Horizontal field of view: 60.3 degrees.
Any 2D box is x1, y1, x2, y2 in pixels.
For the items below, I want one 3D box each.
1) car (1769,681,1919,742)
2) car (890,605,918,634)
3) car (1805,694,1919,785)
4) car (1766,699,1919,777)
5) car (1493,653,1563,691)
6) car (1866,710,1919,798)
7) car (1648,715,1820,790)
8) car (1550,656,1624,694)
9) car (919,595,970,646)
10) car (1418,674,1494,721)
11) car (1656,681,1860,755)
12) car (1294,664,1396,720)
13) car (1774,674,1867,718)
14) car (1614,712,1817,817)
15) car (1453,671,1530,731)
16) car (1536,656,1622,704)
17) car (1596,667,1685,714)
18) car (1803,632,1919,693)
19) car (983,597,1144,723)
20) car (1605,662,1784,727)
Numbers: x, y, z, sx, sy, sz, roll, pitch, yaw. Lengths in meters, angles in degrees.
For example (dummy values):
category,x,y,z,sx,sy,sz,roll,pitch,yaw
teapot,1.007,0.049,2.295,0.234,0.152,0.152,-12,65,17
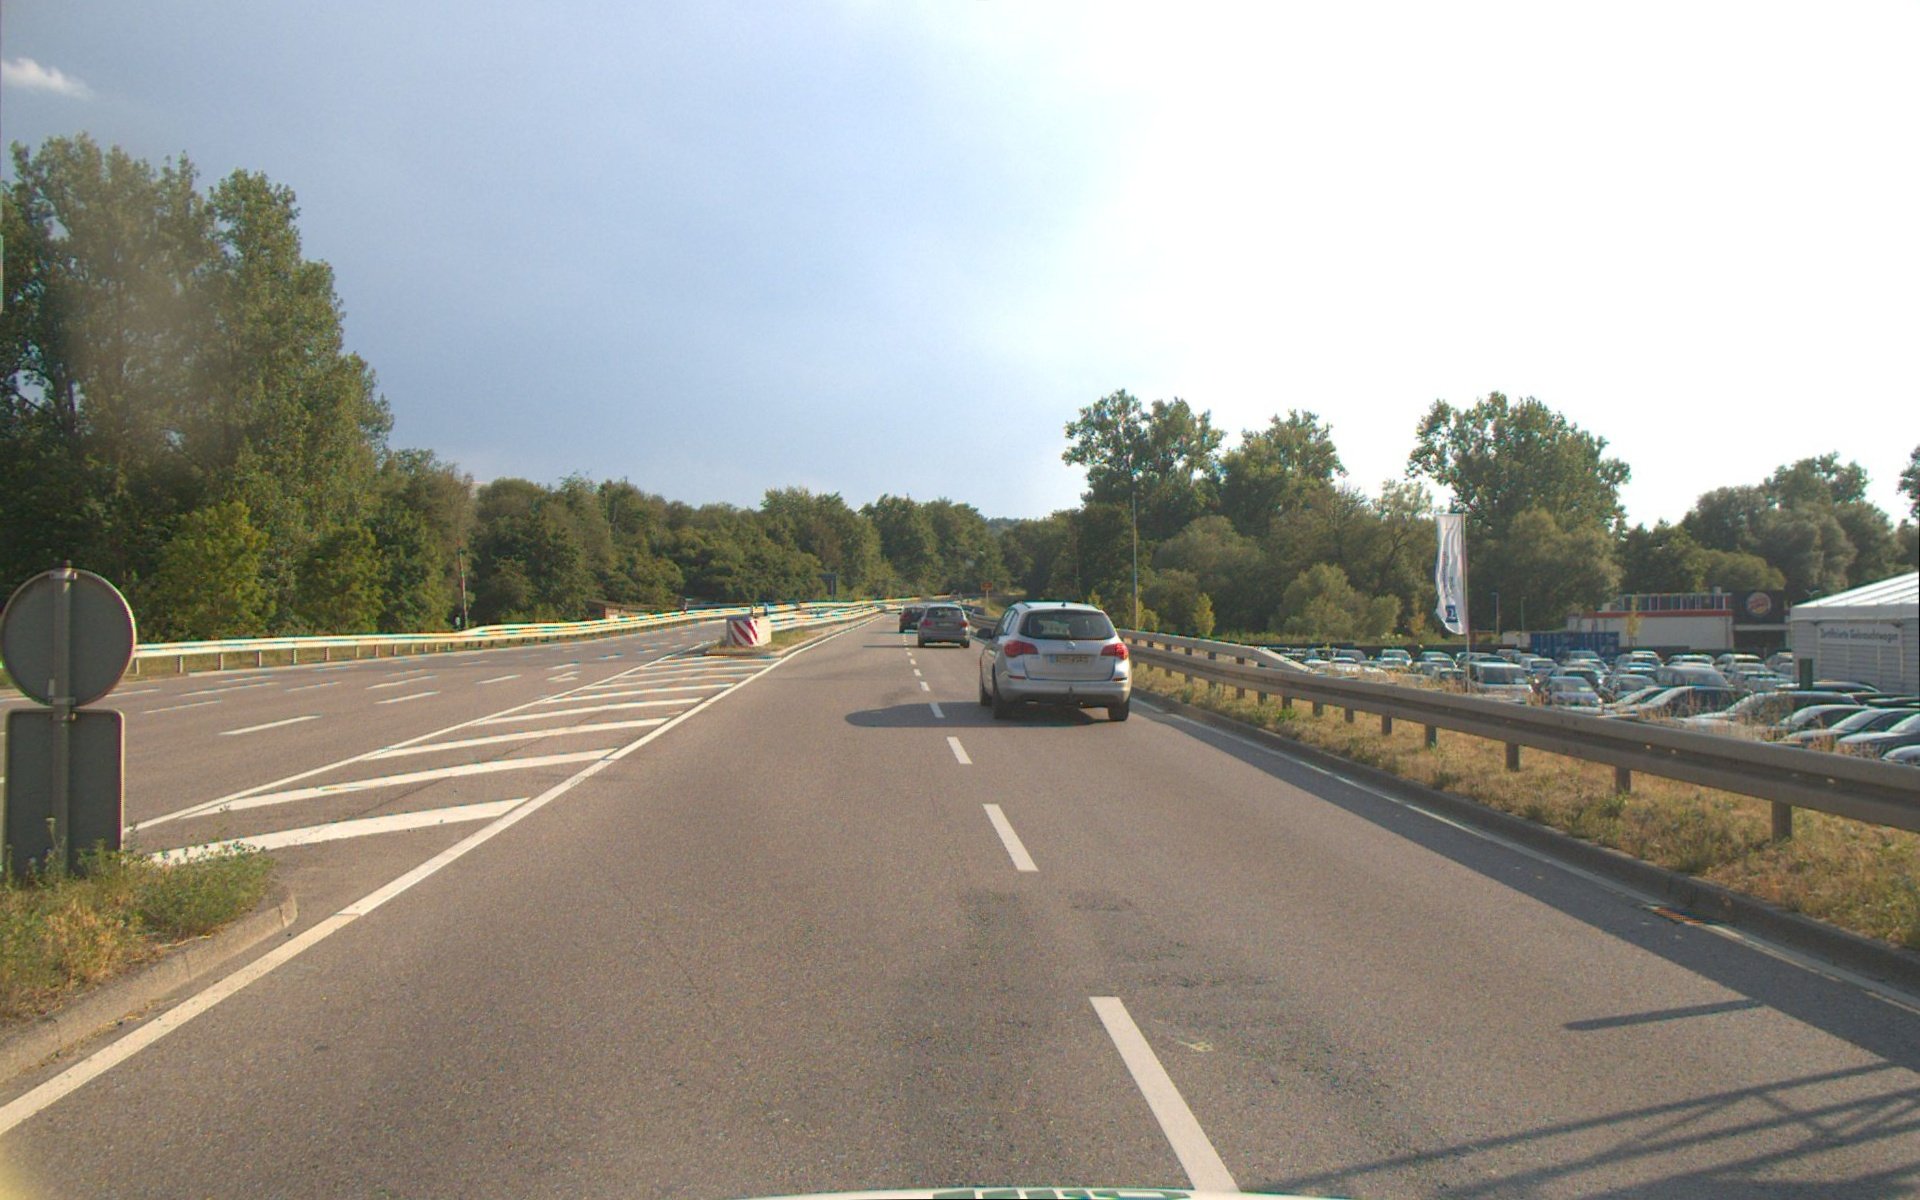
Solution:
category,x,y,z,sx,sy,sz,roll,pitch,yaw
car,27.012,3.336,49.848,4.331,1.665,1.887,1,-1,5
car,-3.032,1.070,89.635,1.462,1.502,3.357,1,-1,-1
car,20.279,2.926,34.547,4.325,1.744,1.802,1,-1,6
car,20.680,3.098,37.092,4.325,1.570,1.802,1,-1,6
car,27.086,3.423,79.009,1.840,1.665,4.730,1,-1,2
car,20.222,3.007,32.031,4.325,1.570,1.802,1,-1,6
car,18.596,3.642,39.821,3.402,1.601,1.630,1,-1,6
car,30.300,3.593,80.118,1.841,1.665,4.729,1,-1,1
car,-0.538,0.710,55.738,1.633,1.601,3.999,2,-1,-1
car,19.762,3.848,66.069,1.840,1.665,4.731,1,-1,4
car,20.356,2.995,42.317,4.325,1.696,1.842,1,-1,6
car,12.680,3.004,54.747,1.843,1.654,4.723,1,-1,-6
car,37.062,4.102,71.366,1.840,1.665,4.575,1,-1,3
car,14.009,3.009,30.963,1.758,1.570,4.432,1,-1,0
car,19.156,3.603,59.784,1.839,1.965,4.733,1,-1,8
car,21.805,2.796,58.441,1.839,1.548,4.733,1,-1,8
car,26.994,3.551,65.796,1.840,1.665,4.731,1,-1,4
car,26.669,1.782,47.141,4.331,1.665,1.887,1,-1,5
car,1.299,0.770,22.273,1.772,1.512,3.998,1,-1,-2
car,20.959,2.692,47.334,4.325,1.635,1.802,1,0,6
